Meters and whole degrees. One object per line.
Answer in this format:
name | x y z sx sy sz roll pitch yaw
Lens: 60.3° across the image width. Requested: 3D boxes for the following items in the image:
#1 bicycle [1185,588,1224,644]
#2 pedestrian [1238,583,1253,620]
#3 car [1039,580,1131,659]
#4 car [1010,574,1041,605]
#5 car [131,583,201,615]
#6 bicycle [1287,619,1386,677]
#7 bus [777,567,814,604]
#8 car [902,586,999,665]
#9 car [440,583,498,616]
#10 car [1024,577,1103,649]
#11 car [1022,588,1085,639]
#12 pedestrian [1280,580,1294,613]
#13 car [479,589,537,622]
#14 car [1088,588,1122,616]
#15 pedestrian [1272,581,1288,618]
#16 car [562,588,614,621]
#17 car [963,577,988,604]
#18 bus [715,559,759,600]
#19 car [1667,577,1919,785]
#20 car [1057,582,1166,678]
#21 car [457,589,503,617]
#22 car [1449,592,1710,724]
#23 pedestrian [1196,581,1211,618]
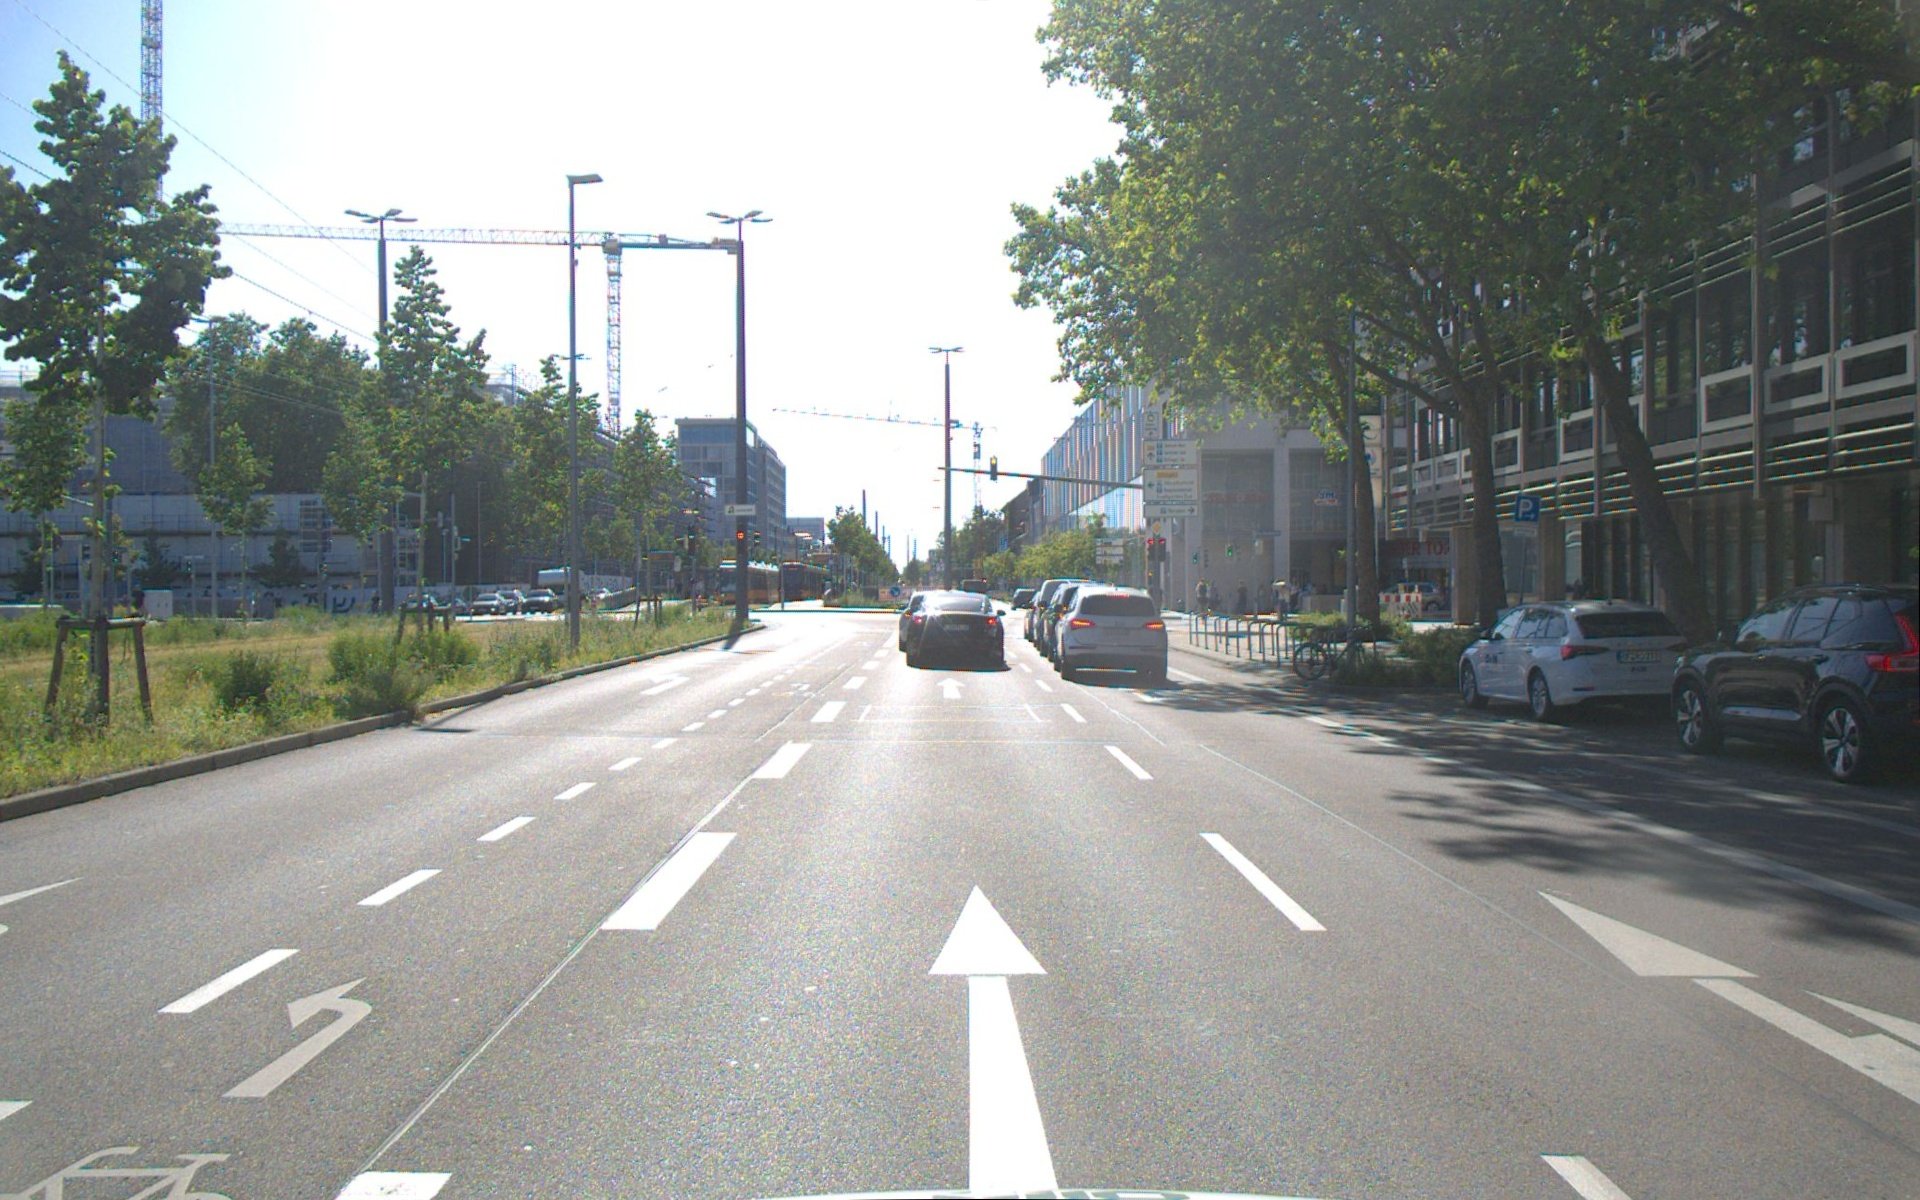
bicycle | 6.626 0.437 44.909 0.550 1.466 2.575 2 0 -2
pedestrian | 11.502 0.080 66.624 0.550 1.466 0.632 2 -1 6
car | 2.759 0.388 37.386 1.686 1.682 4.185 0 1 -1
car | 4.494 -0.713 113.935 1.953 2.049 3.999 2 0 -1
car | -41.186 -0.055 85.852 1.676 1.583 3.999 2 0 0
bicycle | 6.815 0.859 29.982 1.660 0.974 0.478 -2 1 -5
bus | -14.028 -1.183 141.626 2.575 3.011 9.892 2 0 -3
car | -0.241 0.471 33.905 1.873 1.512 4.008 0 1 -2
car | -19.266 -0.012 64.944 1.348 1.199 3.219 2 0 -1
car | 2.691 0.299 43.838 1.687 1.814 4.184 0 1 -2
car | 2.815 0.387 50.652 1.686 1.456 4.186 0 1 0
pedestrian | 15.031 -0.156 76.096 0.550 1.466 0.632 2 -1 6
car | -17.310 0.217 63.444 1.348 1.199 3.219 2 0 -1
car | 9.027 0.136 103.406 1.629 1.678 3.699 2 0 -2
pedestrian | 13.144 -0.014 68.023 0.550 1.466 0.632 2 -1 6
car | -14.505 0.187 64.583 1.348 1.199 3.219 2 0 -1
car | 1.242 -0.767 136.443 1.953 2.049 3.999 2 0 -1
bus | -16.752 -1.467 124.747 2.575 2.832 8.838 2 0 -3
car | 8.059 0.608 14.782 1.669 1.591 4.191 0 0 -1
car | 2.714 0.488 30.428 1.686 1.646 4.187 0 1 1
car | -30.300 0.203 104.446 1.800 1.641 3.894 2 0 -1
car | 7.949 0.667 21.711 1.669 1.518 4.600 0 1 -1
pedestrian | 9.783 -0.014 66.435 0.550 1.466 0.632 2 -1 6
